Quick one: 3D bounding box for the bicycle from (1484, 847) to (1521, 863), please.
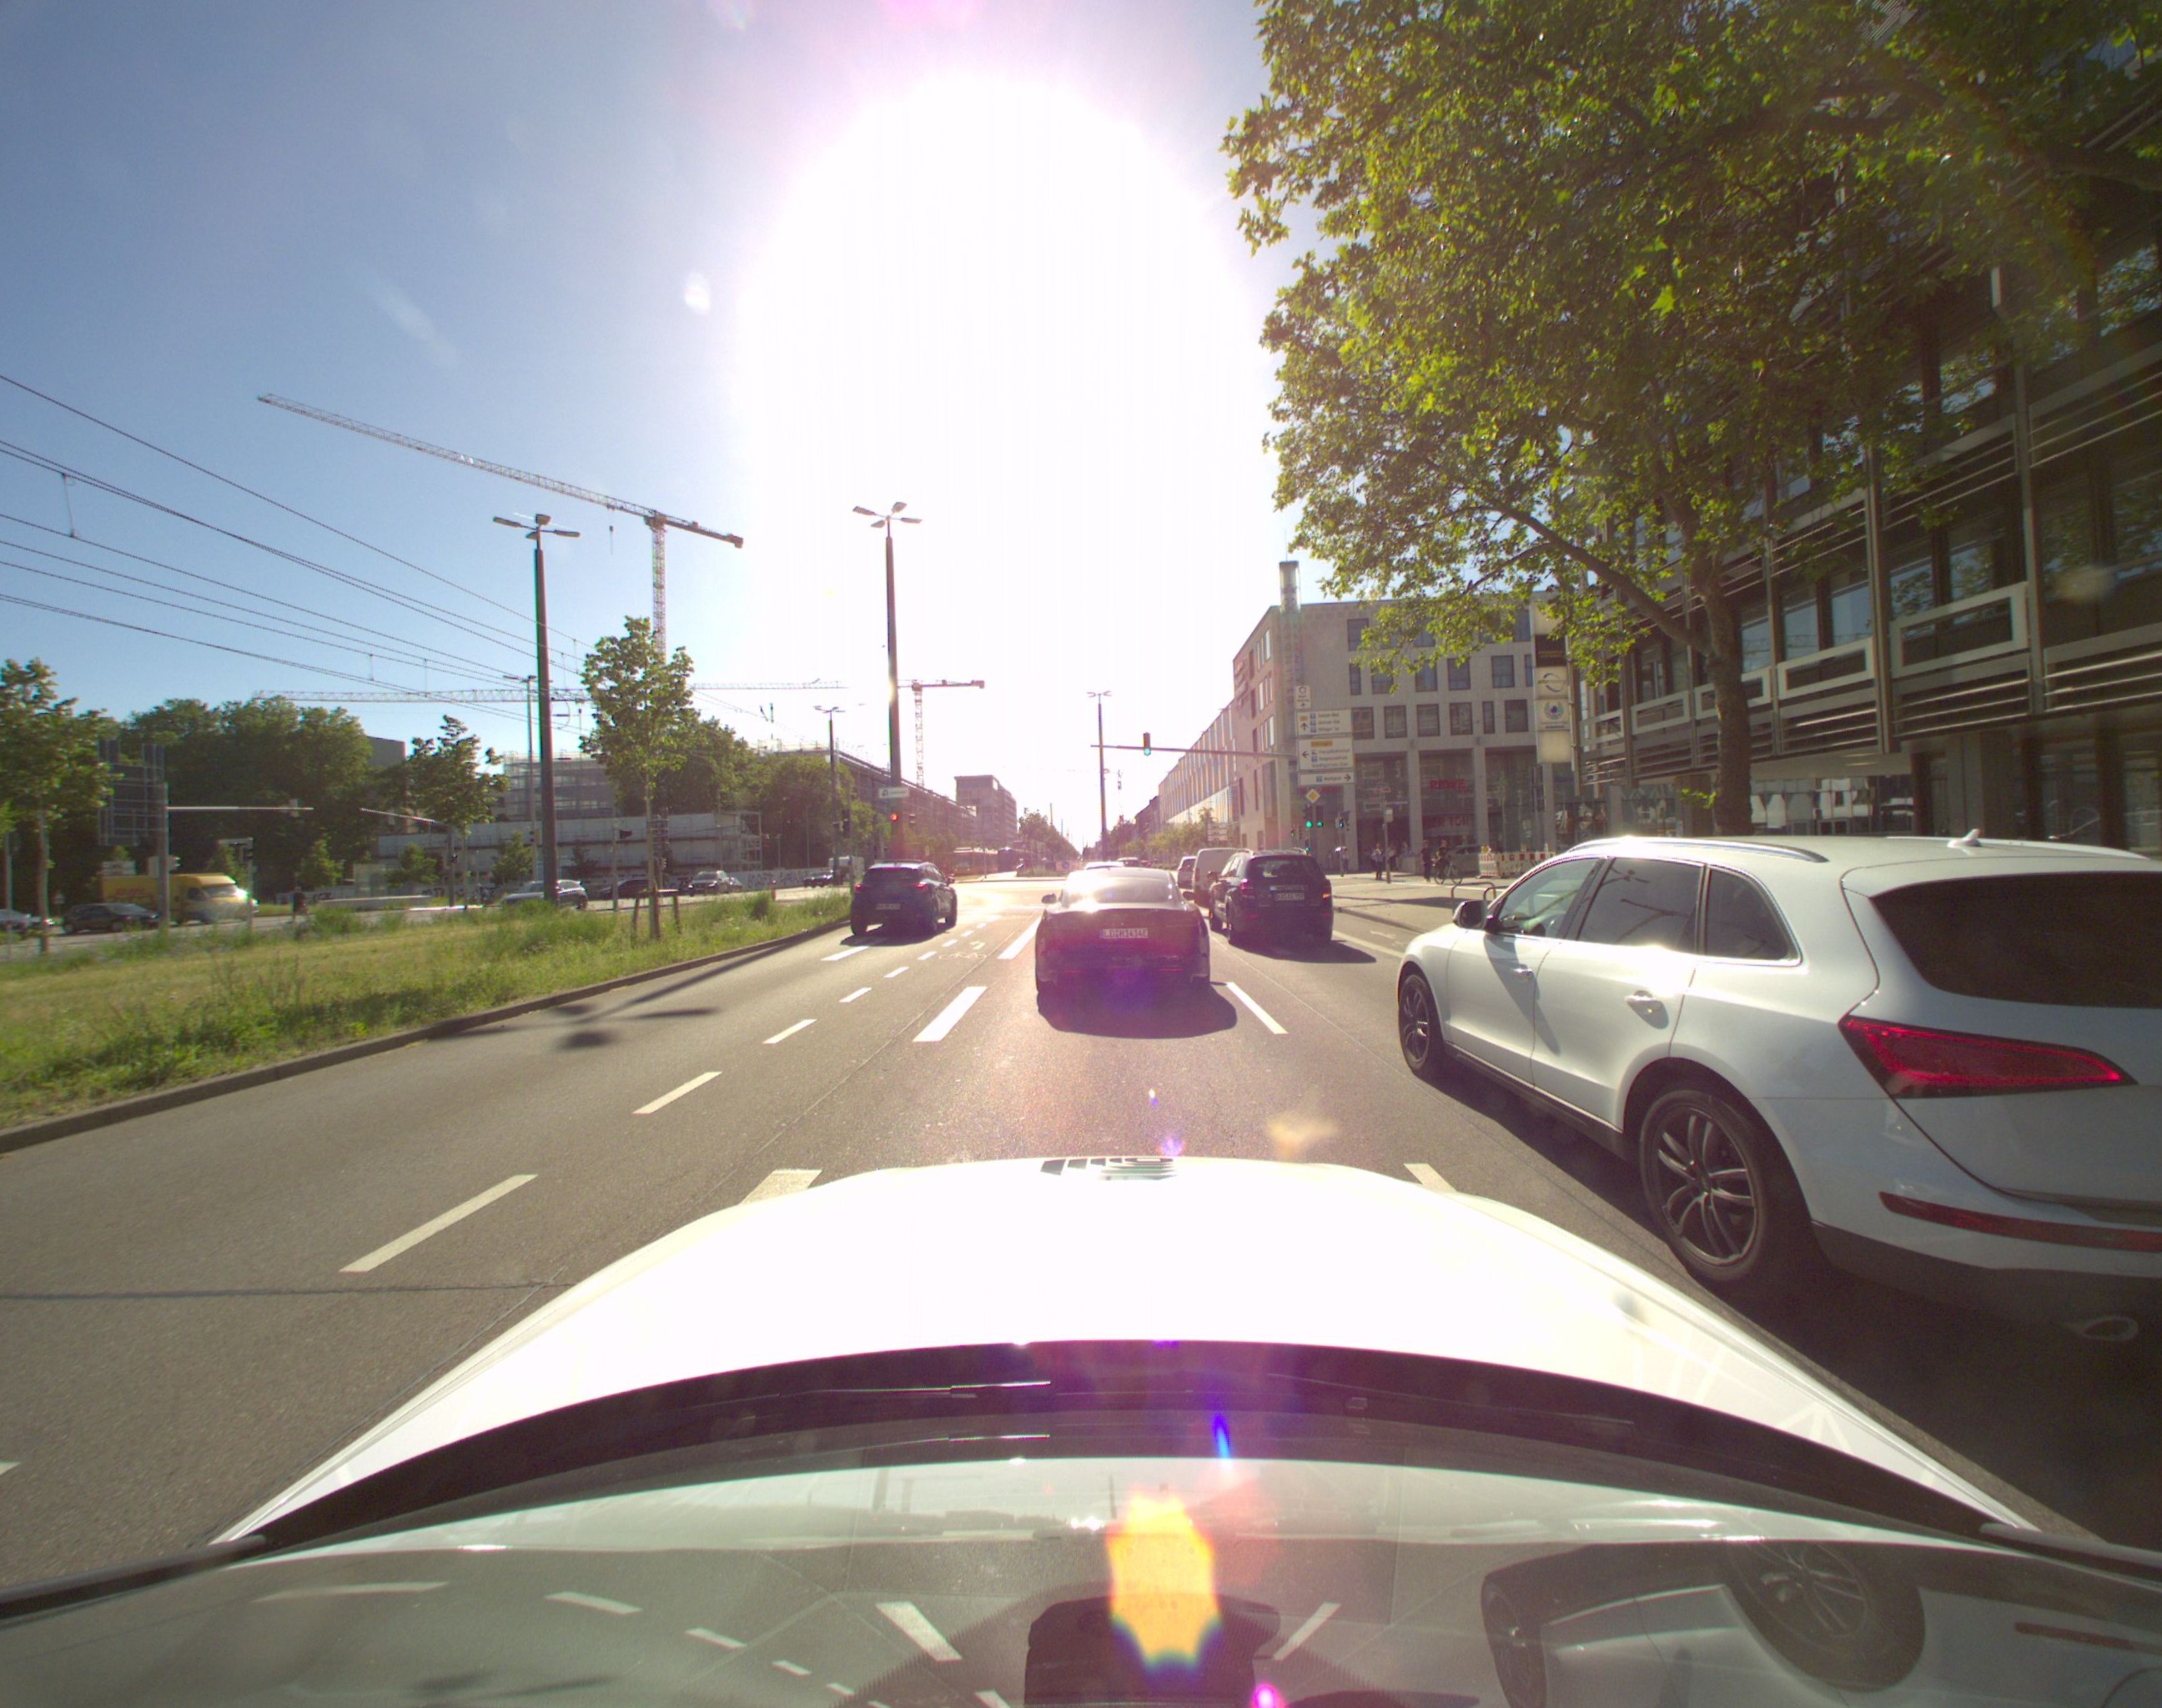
[{"bbox_3d":[30.573,0.103,59.119,1.061,1.094,3.501,-2,0,4],"label":"bicycle"}]

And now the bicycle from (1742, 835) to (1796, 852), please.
[{"bbox_3d":[49.003,-0.720,58.050,1.061,1.094,3.501,-2,0,4],"label":"bicycle"}]

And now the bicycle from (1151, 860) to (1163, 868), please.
[{"bbox_3d":[13.426,1.759,143.933,1.881,1.151,0.669,-4,-1,-10],"label":"bicycle"}]

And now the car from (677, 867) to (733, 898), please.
[{"bbox_3d":[-25.815,1.927,56.120,1.863,1.955,4.001,-2,0,1],"label":"car"}]

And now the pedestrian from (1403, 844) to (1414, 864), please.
[{"bbox_3d":[29.180,0.015,72.606,0.559,1.762,0.643,-3,0,-35],"label":"pedestrian"}]

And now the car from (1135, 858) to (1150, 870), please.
[{"bbox_3d":[8.635,1.391,114.337,1.927,1.542,4.001,-2,0,2],"label":"car"}]

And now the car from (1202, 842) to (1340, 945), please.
[{"bbox_3d":[3.538,0.674,15.978,1.777,1.699,4.415,-2,0,2],"label":"car"}]

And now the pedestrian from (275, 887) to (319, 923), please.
[{"bbox_3d":[-39.110,2.530,40.625,1.188,1.685,0.947,-1,1,-1],"label":"pedestrian"}]

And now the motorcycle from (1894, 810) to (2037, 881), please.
[{"bbox_3d":[19.408,-0.165,17.956,0.820,1.441,2.123,-2,0,2],"label":"motorcycle"}]

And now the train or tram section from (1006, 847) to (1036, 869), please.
[{"bbox_3d":[-9.616,0.718,133.087,2.860,3.279,22.144,0,0,1],"label":"train or tram section"}]

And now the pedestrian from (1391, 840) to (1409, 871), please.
[{"bbox_3d":[17.548,0.080,44.790,0.659,1.612,0.525,-4,-1,-8],"label":"pedestrian"}]

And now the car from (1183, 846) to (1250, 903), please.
[{"bbox_3d":[4.510,0.654,27.649,1.777,1.733,4.167,-2,0,3],"label":"car"}]

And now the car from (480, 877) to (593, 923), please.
[{"bbox_3d":[-23.041,1.907,34.654,1.818,1.689,4.096,-2,0,4],"label":"car"}]

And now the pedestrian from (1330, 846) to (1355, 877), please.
[{"bbox_3d":[15.875,0.463,49.467,0.963,1.801,1.523,-4,-1,1],"label":"pedestrian"}]

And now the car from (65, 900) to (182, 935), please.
[{"bbox_3d":[-48.583,3.222,41.360,3.966,1.539,1.907,-2,-1,6],"label":"car"}]

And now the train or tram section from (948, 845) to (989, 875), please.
[{"bbox_3d":[-13.262,0.733,97.136,2.860,3.310,13.073,0,0,1],"label":"train or tram section"}]

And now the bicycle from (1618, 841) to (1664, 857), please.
[{"bbox_3d":[40.365,-0.334,58.778,1.061,1.094,3.501,-2,0,4],"label":"bicycle"}]

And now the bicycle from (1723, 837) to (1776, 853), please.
[{"bbox_3d":[47.864,-0.621,58.398,1.061,1.094,3.501,-2,0,4],"label":"bicycle"}]

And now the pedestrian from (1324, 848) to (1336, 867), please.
[{"bbox_3d":[21.280,0.306,69.559,0.745,1.608,0.556,-2,0,0],"label":"pedestrian"}]

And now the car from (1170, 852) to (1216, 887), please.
[{"bbox_3d":[5.412,0.732,39.794,1.777,1.546,4.041,-2,0,2],"label":"car"}]

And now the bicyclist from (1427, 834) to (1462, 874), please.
[{"bbox_3d":[13.849,-0.013,31.052,0.878,1.477,0.884,-2,0,1],"label":"bicyclist"}]

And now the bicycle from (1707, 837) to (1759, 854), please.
[{"bbox_3d":[46.694,-0.598,58.425,1.061,1.094,3.501,-2,0,4],"label":"bicycle"}]

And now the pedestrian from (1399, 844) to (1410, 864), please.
[{"bbox_3d":[28.630,0.028,72.177,0.559,1.762,0.643,-3,0,-35],"label":"pedestrian"}]

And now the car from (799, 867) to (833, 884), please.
[{"bbox_3d":[-28.675,2.345,88.297,1.986,1.707,4.561,-2,-1,1],"label":"car"}]

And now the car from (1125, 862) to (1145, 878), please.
[{"bbox_3d":[5.194,1.496,78.718,1.710,1.432,4.001,-2,0,2],"label":"car"}]

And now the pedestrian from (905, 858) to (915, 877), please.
[{"bbox_3d":[-17.082,1.365,81.478,0.797,1.823,0.976,-2,0,-2],"label":"pedestrian"}]

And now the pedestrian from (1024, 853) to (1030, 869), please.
[{"bbox_3d":[-6.342,0.816,95.682,0.701,1.775,0.959,0,0,-2],"label":"pedestrian"}]

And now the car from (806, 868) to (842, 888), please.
[{"bbox_3d":[-24.359,2.252,77.347,1.939,1.707,4.366,-2,-1,0],"label":"car"}]

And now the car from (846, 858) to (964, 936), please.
[{"bbox_3d":[-3.952,0.908,18.950,1.764,1.588,4.089,0,0,1],"label":"car"}]

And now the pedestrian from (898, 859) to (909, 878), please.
[{"bbox_3d":[-17.301,1.384,79.379,0.797,1.823,0.976,-2,0,-2],"label":"pedestrian"}]

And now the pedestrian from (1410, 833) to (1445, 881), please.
[{"bbox_3d":[15.101,0.136,35.493,0.945,2.013,1.077,-2,0,-6],"label":"pedestrian"}]

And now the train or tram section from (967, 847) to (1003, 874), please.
[{"bbox_3d":[-13.008,0.965,111.669,2.838,3.322,15.966,-1,-1,1],"label":"train or tram section"}]

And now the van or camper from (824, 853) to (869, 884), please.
[{"bbox_3d":[-24.556,1.491,85.609,2.597,2.937,7.340,-2,0,0],"label":"van or camper"}]

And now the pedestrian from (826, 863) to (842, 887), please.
[{"bbox_3d":[-19.970,1.697,65.909,0.792,1.823,0.887,-2,-1,33],"label":"pedestrian"}]

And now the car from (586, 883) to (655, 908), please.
[{"bbox_3d":[-34.644,3.096,61.298,1.974,1.601,4.025,-3,-1,32],"label":"car"}]

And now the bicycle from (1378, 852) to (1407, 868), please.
[{"bbox_3d":[22.946,0.463,60.058,1.061,1.094,2.993,-2,0,3],"label":"bicycle"}]

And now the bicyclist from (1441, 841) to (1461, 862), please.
[{"bbox_3d":[25.706,-0.186,56.604,0.928,1.433,1.042,-2,-1,4],"label":"bicyclist"}]

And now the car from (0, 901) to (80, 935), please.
[{"bbox_3d":[-53.882,3.270,41.396,3.966,1.539,1.907,-2,-1,6],"label":"car"}]

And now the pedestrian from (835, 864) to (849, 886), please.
[{"bbox_3d":[-19.780,1.725,67.393,0.797,1.823,0.976,-2,0,-2],"label":"pedestrian"}]

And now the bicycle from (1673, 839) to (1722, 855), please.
[{"bbox_3d":[44.304,-0.487,58.588,1.061,1.094,3.501,-2,0,4],"label":"bicycle"}]

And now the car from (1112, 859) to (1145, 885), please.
[{"bbox_3d":[2.662,1.000,46.239,1.710,1.320,4.001,-2,0,2],"label":"car"}]

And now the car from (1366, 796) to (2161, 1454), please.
[{"bbox_3d":[3.099,0.657,4.211,1.812,1.613,4.415,-2,0,2],"label":"car"}]

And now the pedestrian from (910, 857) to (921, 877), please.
[{"bbox_3d":[-15.934,1.250,78.479,0.797,1.823,0.976,-2,0,-2],"label":"pedestrian"}]

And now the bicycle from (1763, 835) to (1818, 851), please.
[{"bbox_3d":[50.619,-0.764,58.156,1.061,1.094,3.501,-2,0,4],"label":"bicycle"}]

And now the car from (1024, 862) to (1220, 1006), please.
[{"bbox_3d":[0.508,0.847,10.629,1.991,1.434,4.414,-1,0,2],"label":"car"}]

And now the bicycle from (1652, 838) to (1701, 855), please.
[{"bbox_3d":[42.672,-0.531,58.426,1.061,1.094,3.501,-2,0,4],"label":"bicycle"}]

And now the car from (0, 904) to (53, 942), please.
[{"bbox_3d":[-49.281,3.147,36.619,3.966,1.539,1.907,-2,-1,6],"label":"car"}]

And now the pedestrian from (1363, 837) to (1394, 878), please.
[{"bbox_3d":[14.753,0.170,40.397,0.947,2.013,1.076,-2,0,-10],"label":"pedestrian"}]

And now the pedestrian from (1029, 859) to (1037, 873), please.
[{"bbox_3d":[-5.499,1.344,92.713,0.739,1.628,0.862,-2,-1,2],"label":"pedestrian"}]

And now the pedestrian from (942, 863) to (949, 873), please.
[{"bbox_3d":[-16.380,1.665,98.484,0.669,1.226,0.506,0,-1,-2],"label":"pedestrian"}]

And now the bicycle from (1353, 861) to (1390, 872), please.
[{"bbox_3d":[20.285,0.840,56.901,2.183,0.671,1.073,-2,-1,4],"label":"bicycle"}]

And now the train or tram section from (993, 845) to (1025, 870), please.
[{"bbox_3d":[-9.927,0.552,114.445,2.860,3.279,15.186,0,0,1],"label":"train or tram section"}]

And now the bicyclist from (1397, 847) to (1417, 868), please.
[{"bbox_3d":[22.718,0.226,56.745,0.928,1.396,1.078,-2,-1,4],"label":"bicyclist"}]

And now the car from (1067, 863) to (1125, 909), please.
[{"bbox_3d":[0.529,0.983,26.585,1.710,1.320,4.001,-2,0,2],"label":"car"}]

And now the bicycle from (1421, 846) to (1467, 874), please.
[{"bbox_3d":[13.853,0.230,31.141,0.878,0.984,2.051,-2,0,1],"label":"bicycle"}]

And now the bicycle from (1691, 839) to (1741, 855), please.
[{"bbox_3d":[45.468,-0.484,58.383,1.061,1.094,3.501,-2,0,4],"label":"bicycle"}]

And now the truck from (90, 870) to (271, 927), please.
[{"bbox_3d":[-50.152,2.473,45.441,7.967,2.793,2.467,-2,-1,6],"label":"truck"}]

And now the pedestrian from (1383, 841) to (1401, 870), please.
[{"bbox_3d":[17.342,0.083,45.411,0.659,1.612,0.525,-4,-1,-8],"label":"pedestrian"}]

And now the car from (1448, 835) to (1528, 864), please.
[{"bbox_3d":[26.183,-0.279,52.522,4.167,1.613,1.862,-2,-2,3],"label":"car"}]

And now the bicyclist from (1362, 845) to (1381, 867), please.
[{"bbox_3d":[20.298,0.154,56.920,1.017,1.476,1.073,-2,-1,5],"label":"bicyclist"}]
